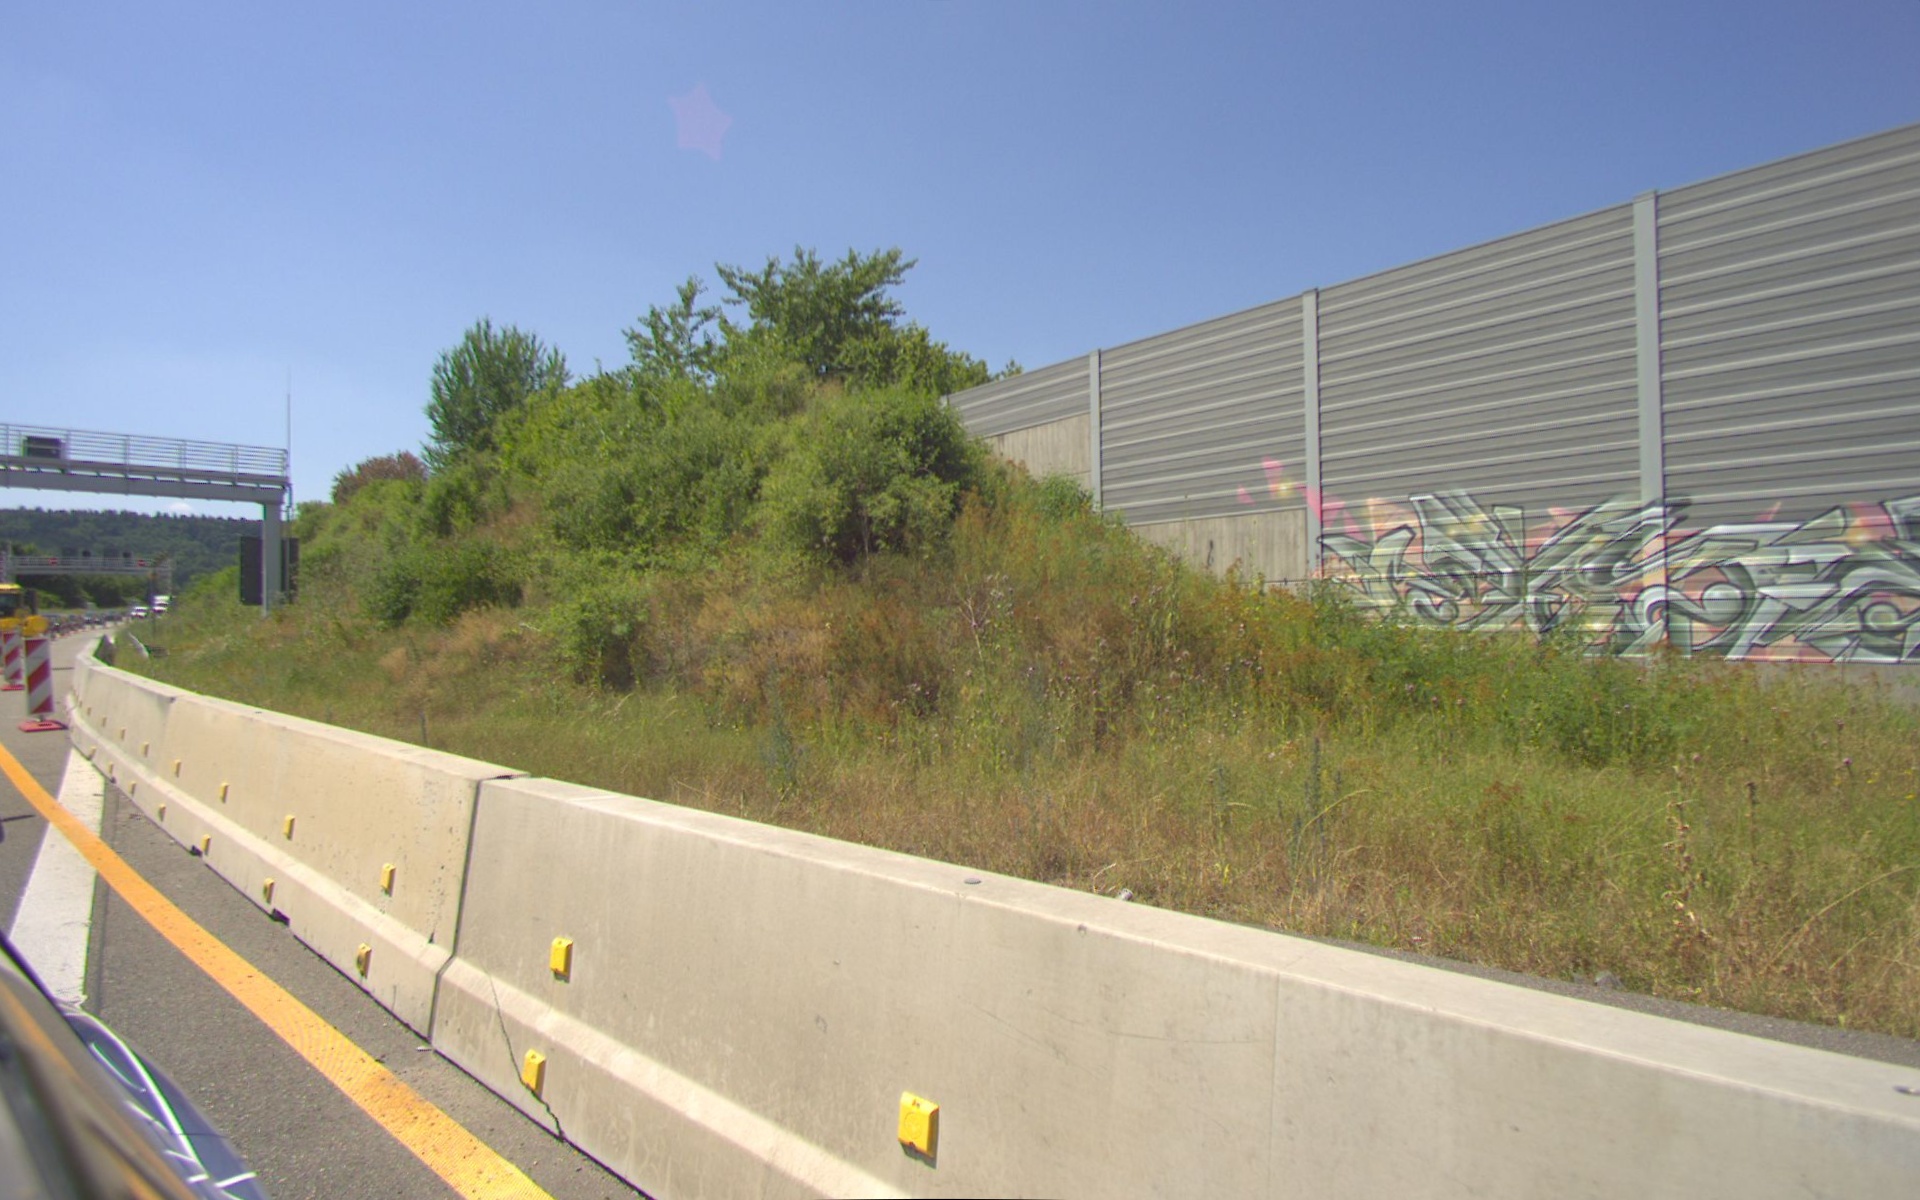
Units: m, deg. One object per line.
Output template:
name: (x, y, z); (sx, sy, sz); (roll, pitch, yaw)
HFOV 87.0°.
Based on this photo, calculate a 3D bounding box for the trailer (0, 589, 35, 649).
trailer: (-65.889, 1.494, 69.253); (3.188, 3.695, 17.448); (-1, -1, -40)

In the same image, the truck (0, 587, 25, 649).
truck: (-60.317, 1.205, 62.728); (3.182, 3.688, 7.093); (-1, -1, -41)
